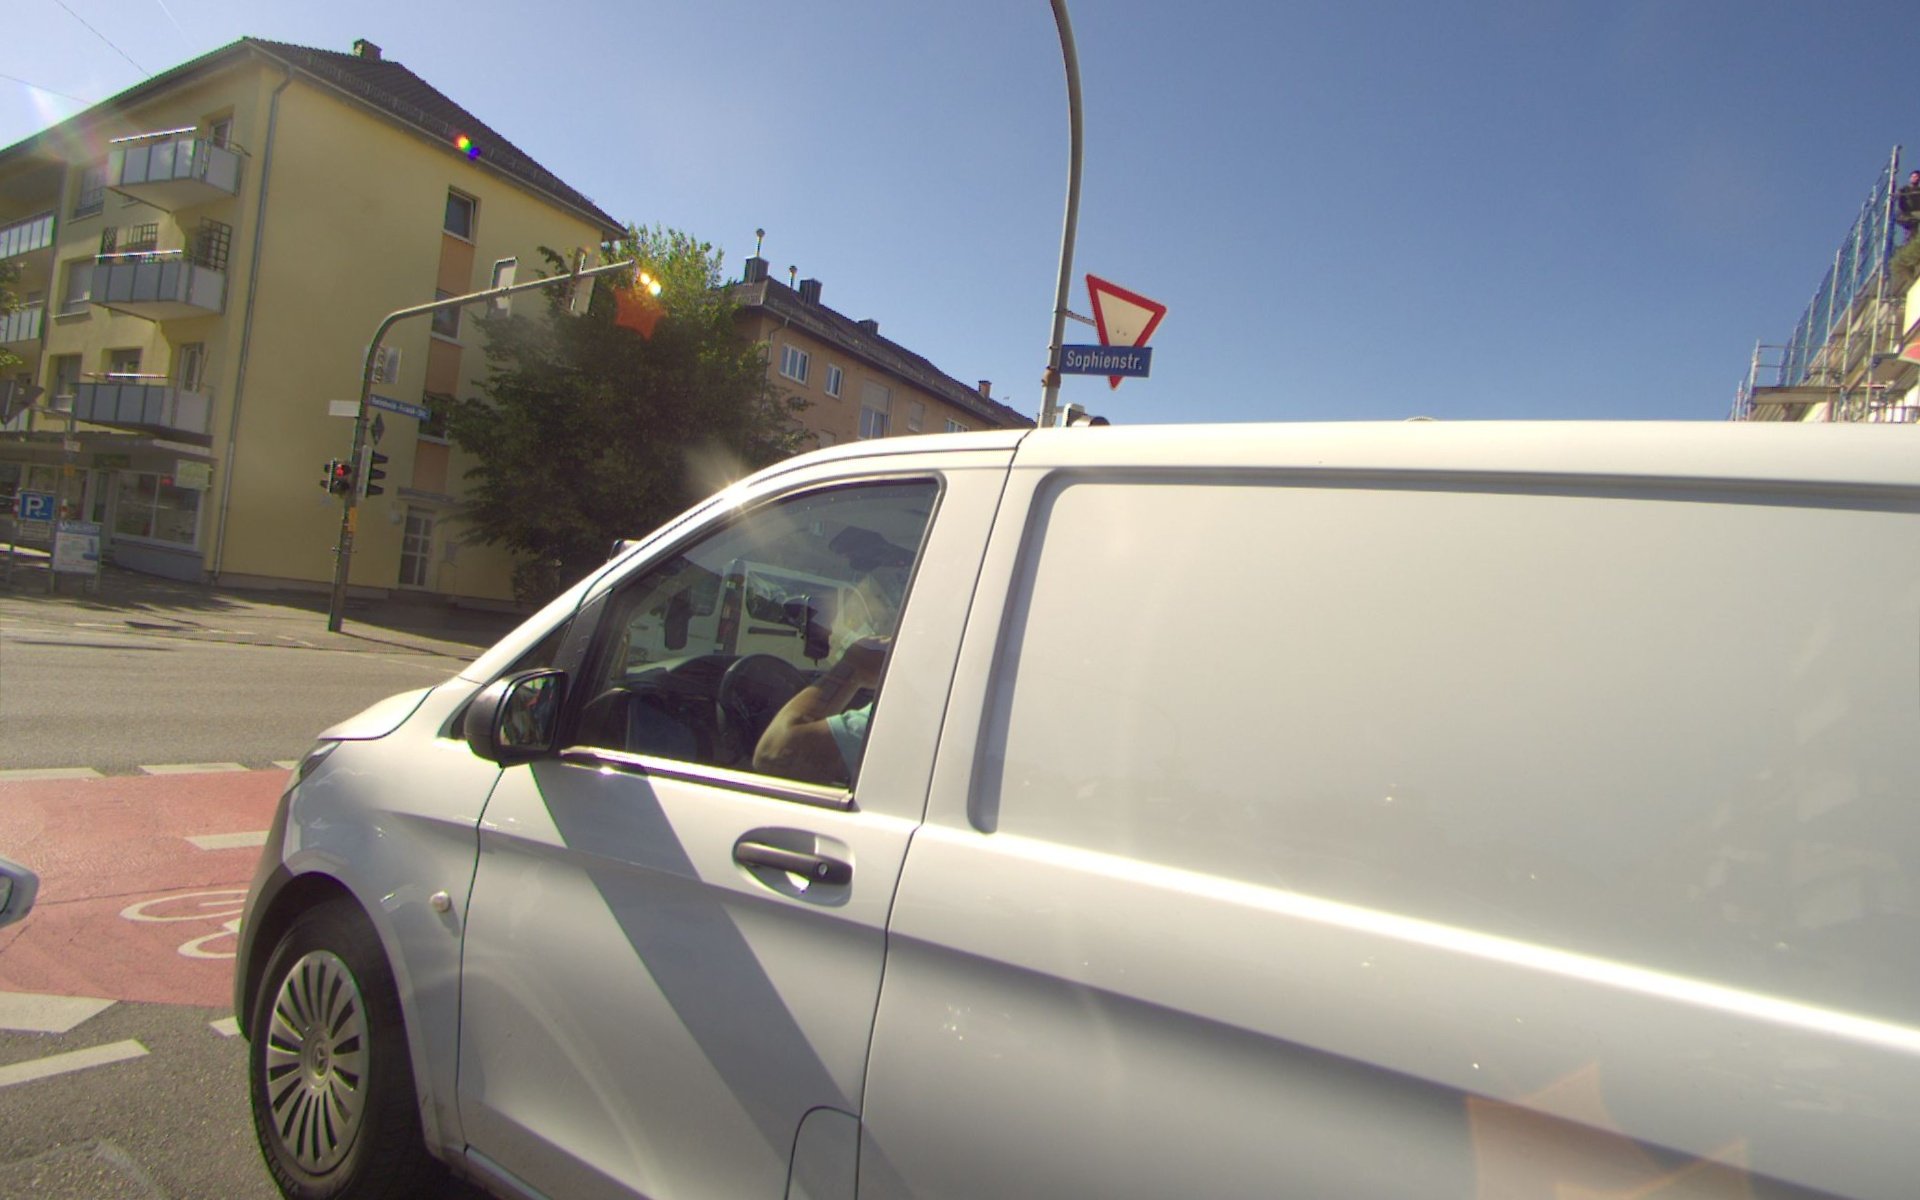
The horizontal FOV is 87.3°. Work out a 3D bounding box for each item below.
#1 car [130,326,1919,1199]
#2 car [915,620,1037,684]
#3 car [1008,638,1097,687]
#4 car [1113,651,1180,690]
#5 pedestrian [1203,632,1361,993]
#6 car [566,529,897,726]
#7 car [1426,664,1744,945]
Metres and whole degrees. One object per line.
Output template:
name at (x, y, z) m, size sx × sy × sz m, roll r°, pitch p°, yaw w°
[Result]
car at (0.553, 0.685, 2.134) m, size 4.752 × 1.832 × 1.972 m, roll 6°, pitch -1°, yaw 31°
car at (0.584, 1.700, 32.118) m, size 1.967 × 1.592 × 3.993 m, roll 7°, pitch -1°, yaw 32°
car at (3.411, 2.289, 36.635) m, size 1.658 × 1.428 × 3.516 m, roll 7°, pitch -1°, yaw 32°
car at (8.456, 3.206, 45.482) m, size 1.658 × 1.428 × 3.516 m, roll 7°, pitch -1°, yaw 32°
pedestrian at (1.812, 1.144, 5.694) m, size 0.594 × 1.844 × 0.629 m, roll 7°, pitch 0°, yaw 17°
car at (-2.742, 0.500, 13.657) m, size 1.937 × 1.961 × 5.063 m, roll 7°, pitch -3°, yaw 17°
car at (5.518, 1.605, 9.010) m, size 1.795 × 1.682 × 3.993 m, roll 7°, pitch -1°, yaw 32°
